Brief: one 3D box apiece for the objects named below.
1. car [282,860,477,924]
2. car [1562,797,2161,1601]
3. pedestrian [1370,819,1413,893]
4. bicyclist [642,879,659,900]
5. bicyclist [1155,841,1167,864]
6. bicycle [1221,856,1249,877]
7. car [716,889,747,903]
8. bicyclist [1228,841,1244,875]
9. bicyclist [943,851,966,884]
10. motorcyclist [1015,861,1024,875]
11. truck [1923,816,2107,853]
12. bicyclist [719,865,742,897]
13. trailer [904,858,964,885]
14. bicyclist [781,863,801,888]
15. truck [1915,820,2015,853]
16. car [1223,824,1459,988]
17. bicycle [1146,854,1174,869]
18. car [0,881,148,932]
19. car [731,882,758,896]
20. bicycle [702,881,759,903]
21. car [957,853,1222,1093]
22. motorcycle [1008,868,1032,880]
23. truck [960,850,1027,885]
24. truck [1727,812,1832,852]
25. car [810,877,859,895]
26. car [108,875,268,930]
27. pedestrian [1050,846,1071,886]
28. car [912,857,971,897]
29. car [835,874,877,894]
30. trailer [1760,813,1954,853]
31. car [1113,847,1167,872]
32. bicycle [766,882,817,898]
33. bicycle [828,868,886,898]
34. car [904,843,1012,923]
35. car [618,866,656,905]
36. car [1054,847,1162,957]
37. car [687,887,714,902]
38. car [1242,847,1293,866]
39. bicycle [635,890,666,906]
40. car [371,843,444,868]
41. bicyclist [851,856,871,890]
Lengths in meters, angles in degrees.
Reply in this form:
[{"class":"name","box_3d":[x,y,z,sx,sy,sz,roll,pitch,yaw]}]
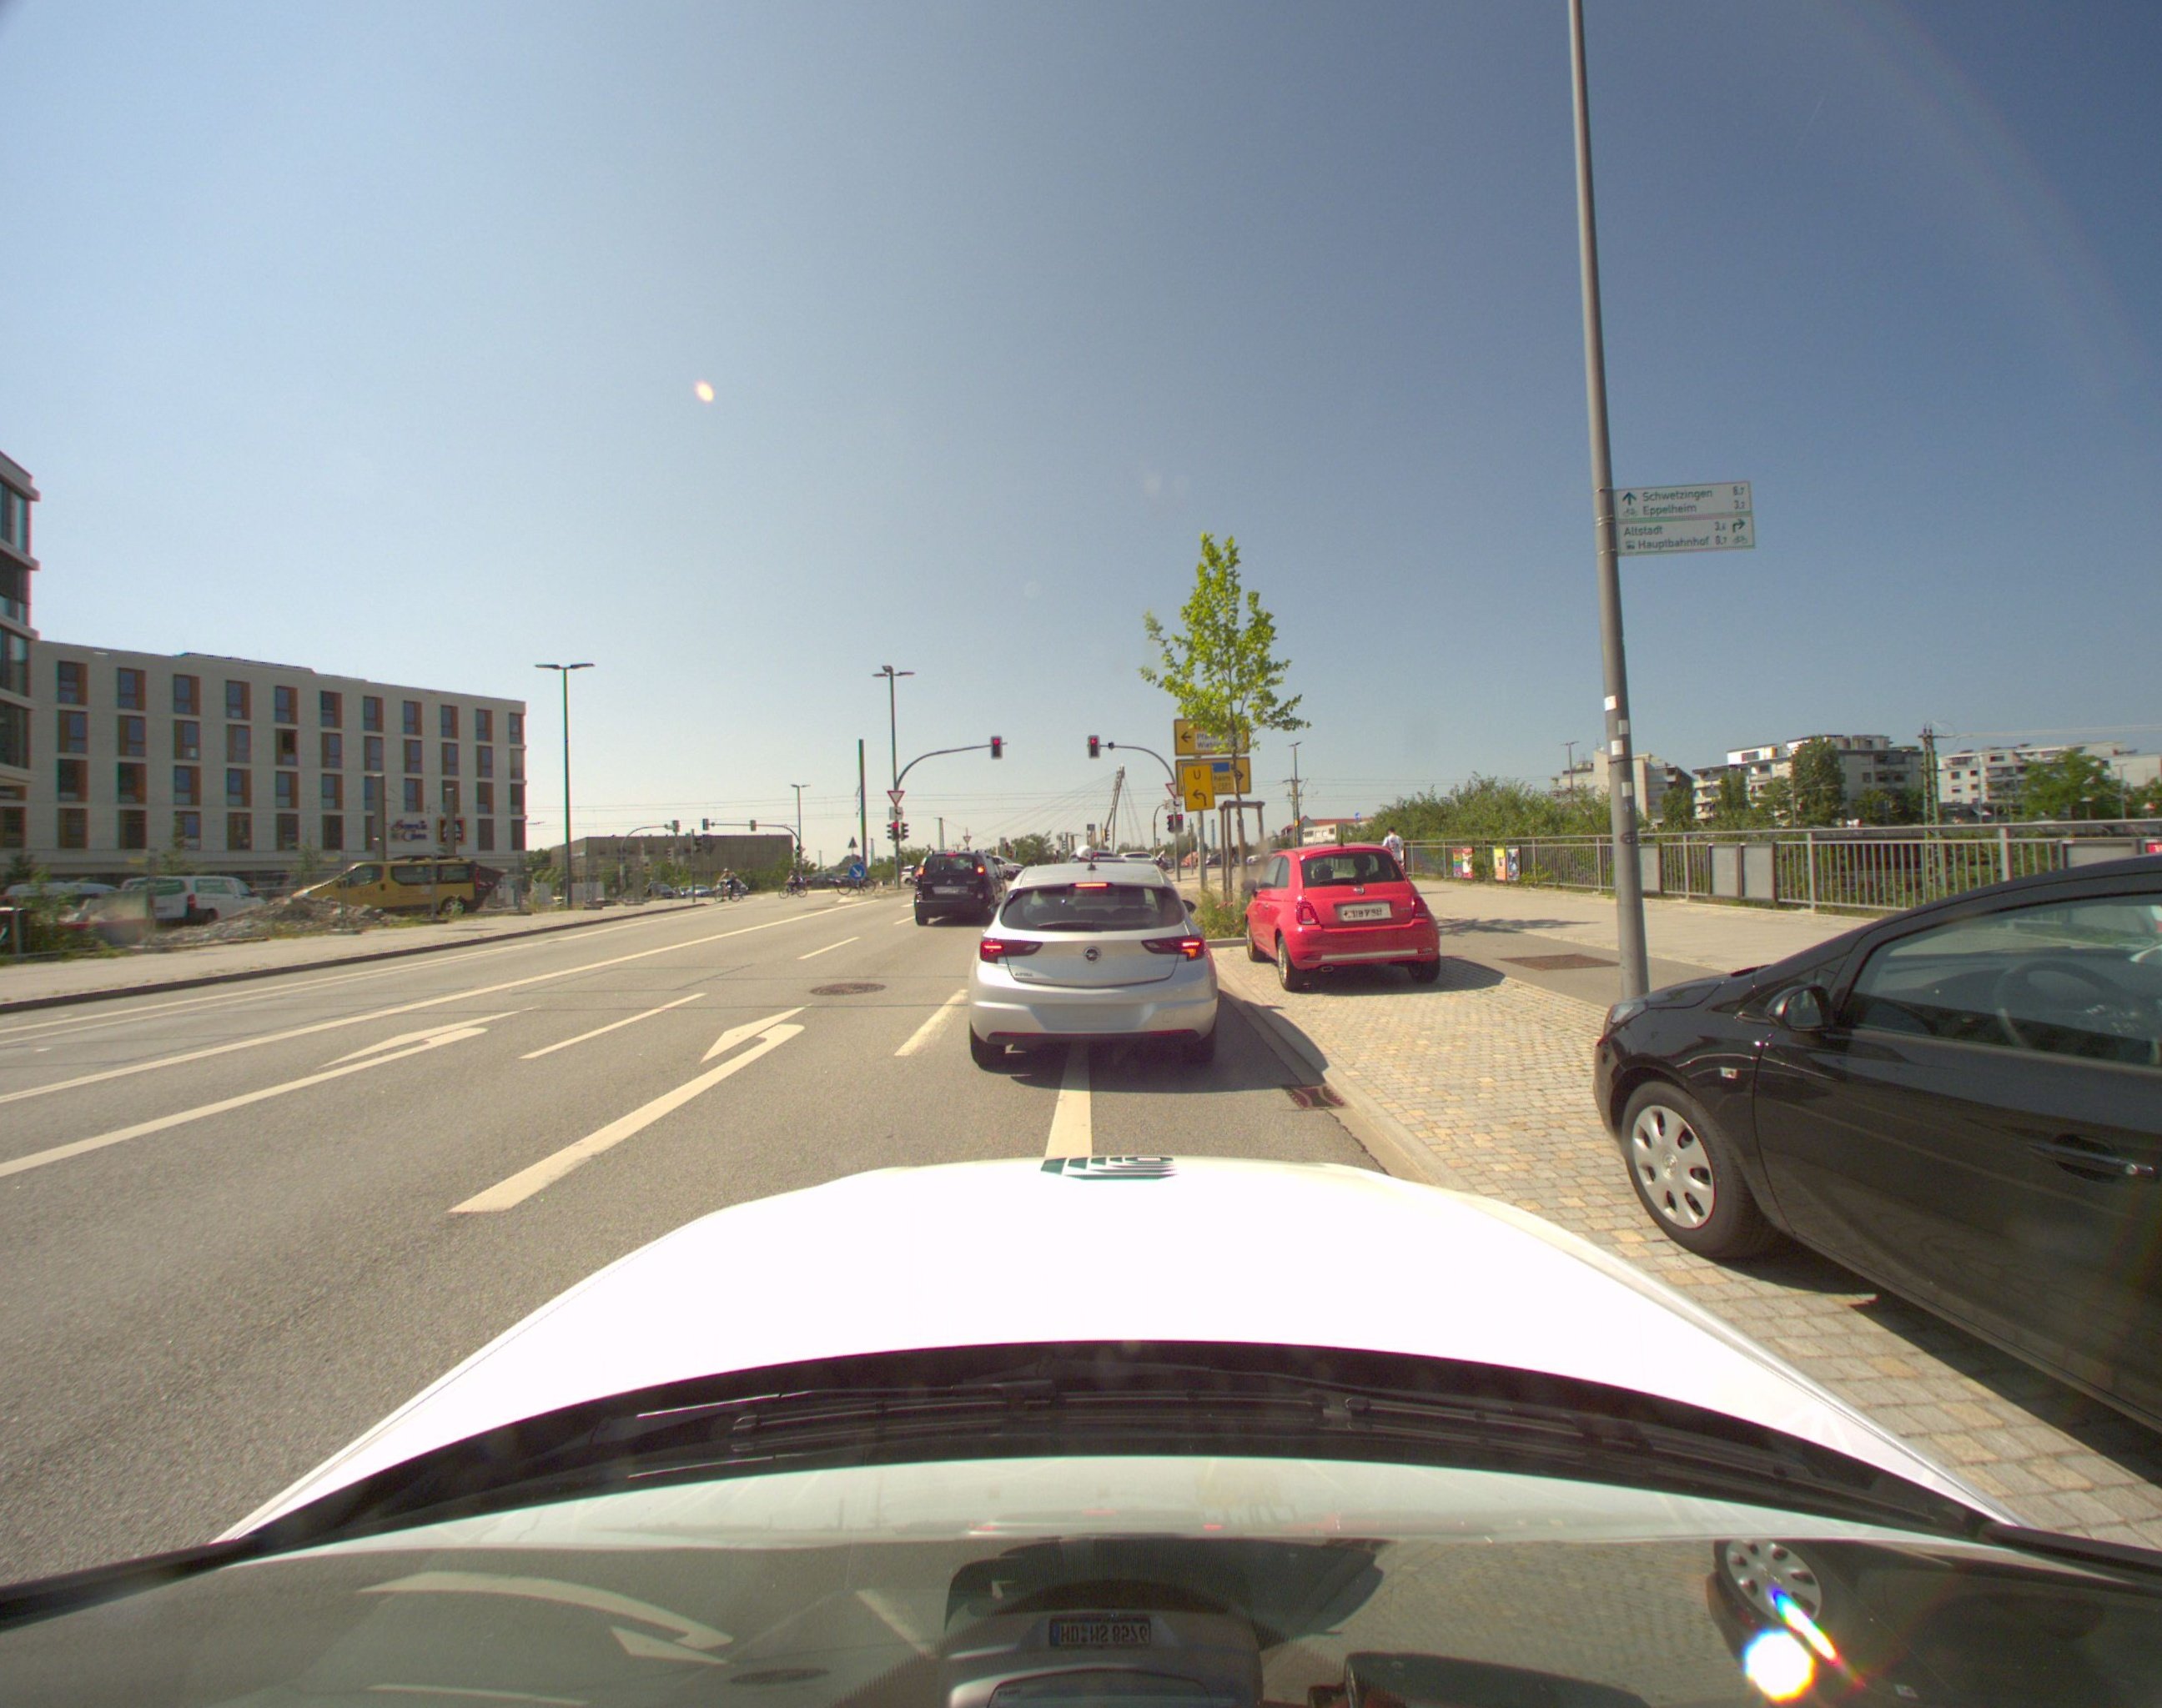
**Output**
[{"class":"car","box_3d":[-22.666,1.154,26.470,1.974,1.890,4.514,-1,-1,40]},{"class":"car","box_3d":[2.873,0.646,1.722,1.576,1.555,3.548,-4,0,1]},{"class":"pedestrian","box_3d":[7.828,0.051,20.575,0.755,1.830,0.885,0,-1,1]},{"class":"bicyclist","box_3d":[-31.492,2.564,59.560,0.712,1.504,0.828,-1,-1,19]},{"class":"bicyclist","box_3d":[5.597,-0.082,57.196,0.769,1.610,0.949,0,-1,0]},{"class":"bicycle","box_3d":[8.630,0.677,45.497,0.548,1.178,2.101,-1,-1,41]},{"class":"car","box_3d":[-31.315,3.760,72.951,2.453,1.240,1.287,-1,-1,25]},{"class":"bicyclist","box_3d":[8.656,0.254,45.518,0.628,1.887,0.599,-1,-2,40]},{"class":"bicyclist","box_3d":[-6.074,0.656,39.109,0.942,1.569,0.822,0,-1,0]},{"class":"motorcyclist","box_3d":[-6.481,1.496,85.696,0.806,1.476,0.885,0,-1,1]},{"class":"truck","box_3d":[87.949,-1.752,76.644,17.857,3.204,3.723,0,-1,-14]},{"class":"bicyclist","box_3d":[-16.677,1.268,38.805,0.653,1.502,0.845,0,-1,6]},{"class":"trailer","box_3d":[-10.781,1.288,60.095,3.970,2.014,2.002,0,-1,3]},{"class":"bicyclist","box_3d":[-13.872,1.033,38.965,0.654,1.175,0.731,0,-1,3]},{"class":"truck","box_3d":[89.451,-1.695,82.399,9.890,3.158,2.492,0,-1,-15]},{"class":"car","box_3d":[2.935,0.543,10.079,1.663,1.540,3.917,-3,-1,1]},{"class":"bicycle","box_3d":[5.552,0.531,57.168,1.861,1.068,0.577,0,-1,-2]},{"class":"car","box_3d":[-33.727,1.689,27.301,1.809,1.508,3.965,0,-1,-27]},{"class":"car","box_3d":[-42.380,4.368,102.438,3.347,1.655,1.658,-1,-1,36]},{"class":"bicycle","box_3d":[-16.679,1.806,38.797,2.491,1.007,0.606,-1,-1,6]},{"class":"car","box_3d":[0.101,0.782,7.406,1.685,1.520,4.271,-1,0,1]},{"class":"motorcycle","box_3d":[-6.415,2.061,85.649,2.528,1.233,0.648,0,-1,0]},{"class":"truck","box_3d":[-6.401,0.994,59.914,4.673,2.541,2.002,0,-1,3]},{"class":"truck","box_3d":[59.040,-1.784,68.931,6.478,3.204,3.721,0,-1,-14]},{"class":"car","box_3d":[-19.491,2.518,64.359,3.738,1.390,1.676,-1,-1,32]},{"class":"car","box_3d":[-31.070,1.630,28.557,2.003,1.707,4.526,0,-1,-23]},{"class":"pedestrian","box_3d":[-1.006,0.577,39.212,0.745,1.863,0.746,1,-1,-31]},{"class":"car","box_3d":[-5.227,0.868,30.924,1.581,1.395,3.340,-1,-1,1]},{"class":"car","box_3d":[-23.314,3.046,84.290,3.948,2.014,2.012,-1,-1,32]},{"class":"trailer","box_3d":[68.030,-1.778,71.359,17.225,3.204,3.723,0,-1,-14]},{"class":"car","box_3d":[4.530,0.432,62.898,4.017,1.815,1.933,-1,-1,2]},{"class":"bicycle","box_3d":[-13.848,1.712,38.943,2.237,0.692,0.516,-1,-1,2]},{"class":"bicycle","box_3d":[-10.579,1.355,38.557,2.526,1.134,0.725,-6,2,-12]},{"class":"car","box_3d":[-2.761,0.649,19.079,1.797,1.622,3.917,-2,-1,1]},{"class":"car","box_3d":[-24.075,1.654,44.244,1.679,2.014,3.965,0,-1,-27]},{"class":"car","box_3d":[0.445,0.756,14.214,1.629,1.674,3.745,0,-1,1]},{"class":"car","box_3d":[-38.190,4.060,81.696,1.595,1.439,3.115,1,-1,-43]},{"class":"car","box_3d":[17.594,0.224,76.930,4.254,1.673,1.989,-1,-1,-16]},{"class":"bicycle","box_3d":[-31.479,3.205,59.527,2.299,1.133,0.640,-1,-1,19]},{"class":"car","box_3d":[-54.404,0.129,65.868,3.990,2.014,1.991,0,-1,-12]},{"class":"bicyclist","box_3d":[-10.423,0.896,38.585,0.822,1.560,0.860,0,-1,-11]}]
